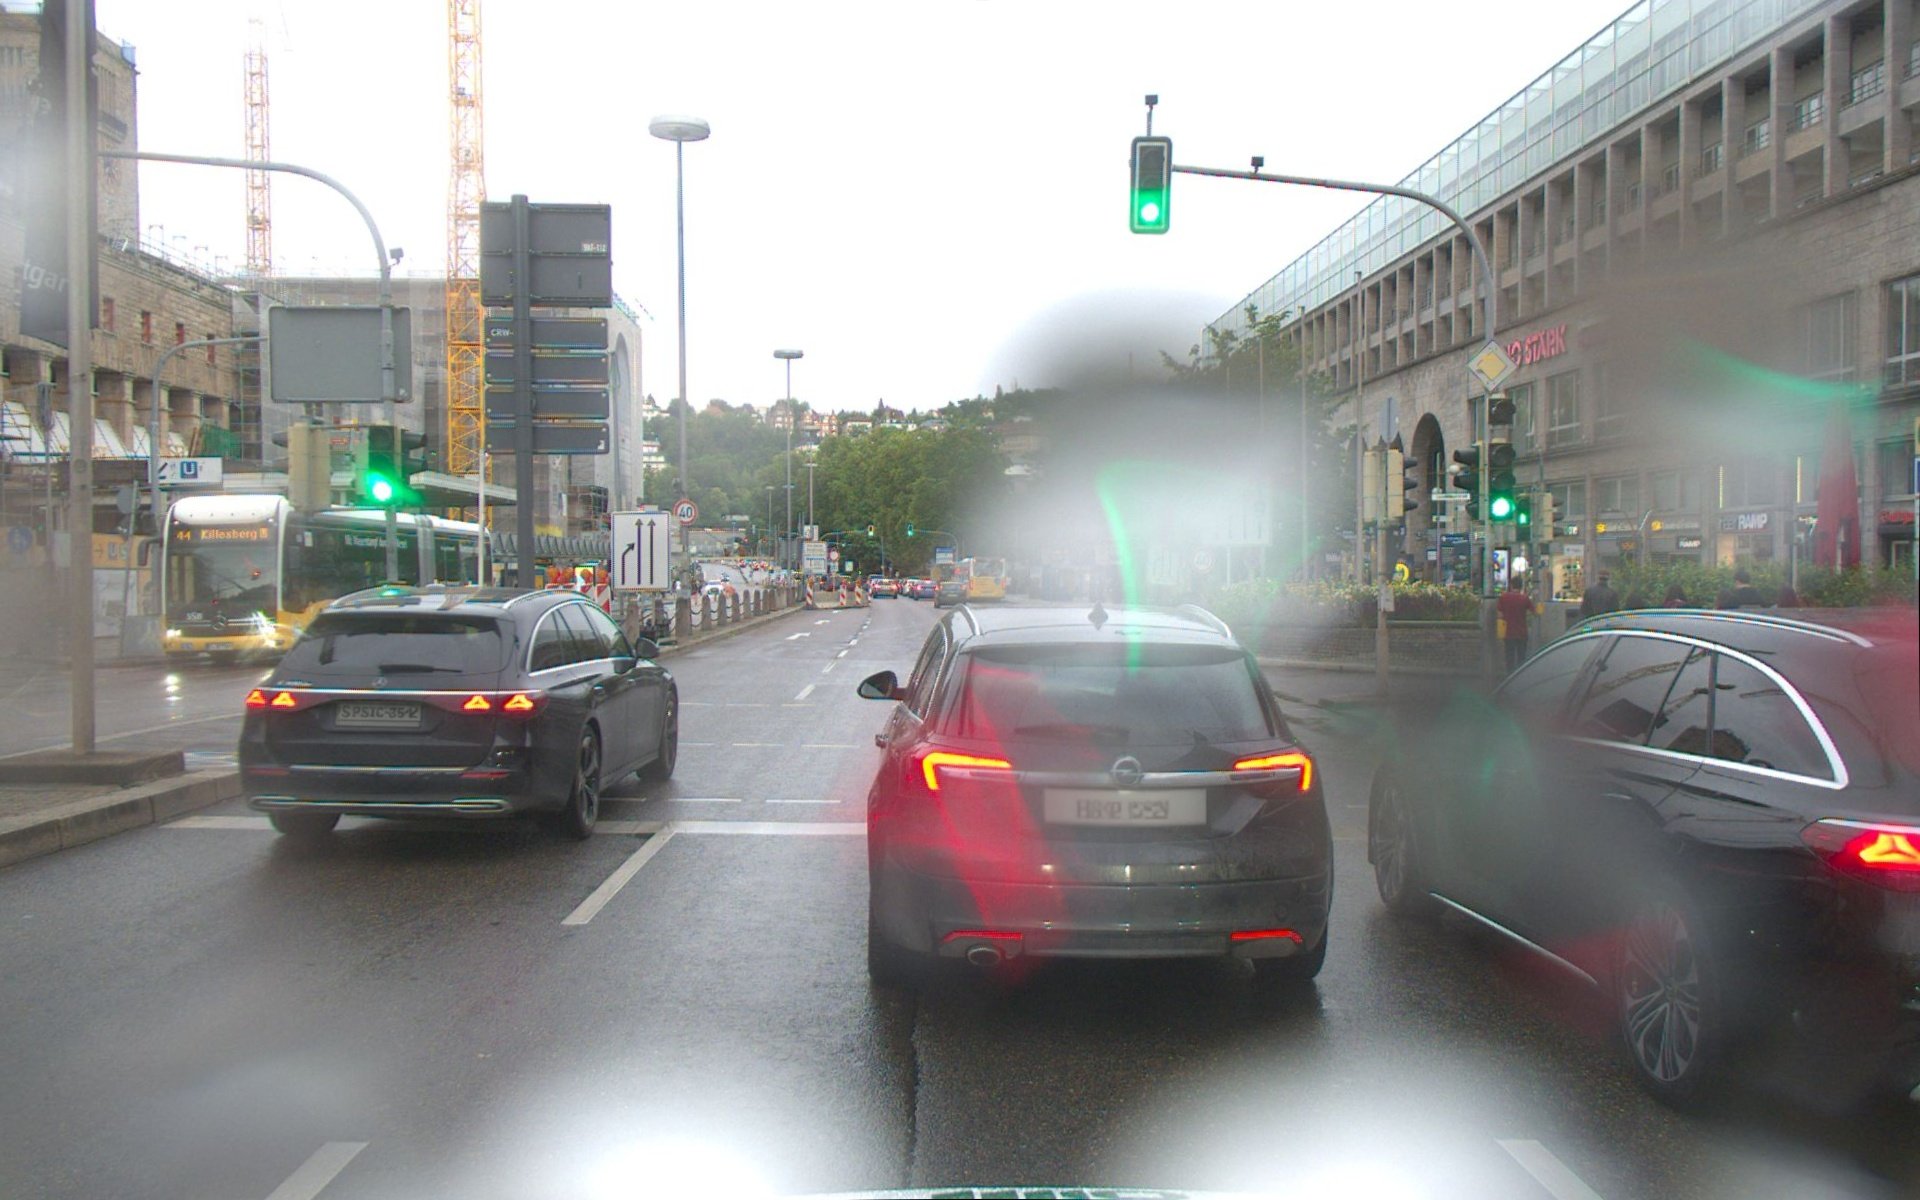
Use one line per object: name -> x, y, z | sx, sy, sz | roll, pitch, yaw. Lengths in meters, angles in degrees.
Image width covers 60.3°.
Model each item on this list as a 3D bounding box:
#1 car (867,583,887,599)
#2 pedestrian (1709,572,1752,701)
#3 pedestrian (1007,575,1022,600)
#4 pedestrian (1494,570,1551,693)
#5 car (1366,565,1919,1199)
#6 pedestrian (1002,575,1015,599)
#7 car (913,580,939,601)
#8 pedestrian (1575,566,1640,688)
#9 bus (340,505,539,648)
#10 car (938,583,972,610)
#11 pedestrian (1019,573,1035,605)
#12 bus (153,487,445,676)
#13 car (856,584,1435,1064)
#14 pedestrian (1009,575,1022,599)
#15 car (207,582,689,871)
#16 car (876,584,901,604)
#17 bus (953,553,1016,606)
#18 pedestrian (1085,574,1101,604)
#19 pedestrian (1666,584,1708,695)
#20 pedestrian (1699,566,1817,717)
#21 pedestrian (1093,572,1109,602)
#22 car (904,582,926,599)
car -> -7.668, -0.861, 153.138 | 1.723, 1.422, 3.563 | 1, 0, -1
pedestrian -> 10.833, 0.508, 23.240 | 0.472, 1.782, 0.665 | -2, 0, 27
pedestrian -> 4.742, -1.080, 143.767 | 1.174, 2.186, 1.228 | 1, 0, 0
pedestrian -> 8.290, 0.461, 24.390 | 0.560, 1.783, 0.676 | 1, -1, 42
car -> 2.992, 0.704, 6.175 | 1.757, 1.528, 4.628 | 1, 0, -1
pedestrian -> 4.528, -1.246, 154.328 | 1.174, 2.186, 1.228 | 1, 0, 0
car -> -2.492, -0.676, 120.242 | 1.718, 1.422, 4.645 | 1, 0, -3
pedestrian -> 9.434, 0.386, 24.109 | 0.740, 1.747, 0.466 | 1, 0, -5
bus -> -14.825, -0.600, 48.050 | 2.614, 3.665, 10.209 | 1, 0, -1
car -> -0.275, -0.208, 91.132 | 1.808, 1.422, 3.666 | 1, 0, -1
pedestrian -> 5.269, -0.857, 129.980 | 1.174, 2.478, 1.228 | 1, 0, 0
bus -> -14.622, -0.348, 37.715 | 2.614, 3.665, 10.237 | 1, 0, -1
car -> 0.556, 0.726, 7.298 | 1.837, 1.512, 3.999 | 1, 0, -1
pedestrian -> 5.243, -1.224, 157.511 | 1.174, 2.186, 1.228 | 1, 0, 0
car -> -3.073, 0.673, 11.028 | 1.817, 1.495, 4.586 | 1, 0, -1
car -> -5.464, -0.458, 126.362 | 1.808, 1.422, 3.563 | 1, 0, -1
bus -> 1.668, -1.388, 120.523 | 4.089, 3.529, 14.651 | 1, 0, -1
pedestrian -> 7.662, -0.617, 95.221 | 0.748, 1.720, 0.824 | 1, 0, -5
pedestrian -> 10.307, 0.555, 23.448 | 0.456, 1.544, 0.449 | 1, -1, 33
pedestrian -> 9.770, 0.496, 20.280 | 1.074, 1.782, 0.653 | -2, 0, -4
pedestrian -> 7.983, -0.730, 93.965 | 0.748, 1.720, 0.824 | 1, 0, -5
car -> -3.882, -0.817, 143.384 | 1.808, 1.422, 3.563 | 1, 0, -1
